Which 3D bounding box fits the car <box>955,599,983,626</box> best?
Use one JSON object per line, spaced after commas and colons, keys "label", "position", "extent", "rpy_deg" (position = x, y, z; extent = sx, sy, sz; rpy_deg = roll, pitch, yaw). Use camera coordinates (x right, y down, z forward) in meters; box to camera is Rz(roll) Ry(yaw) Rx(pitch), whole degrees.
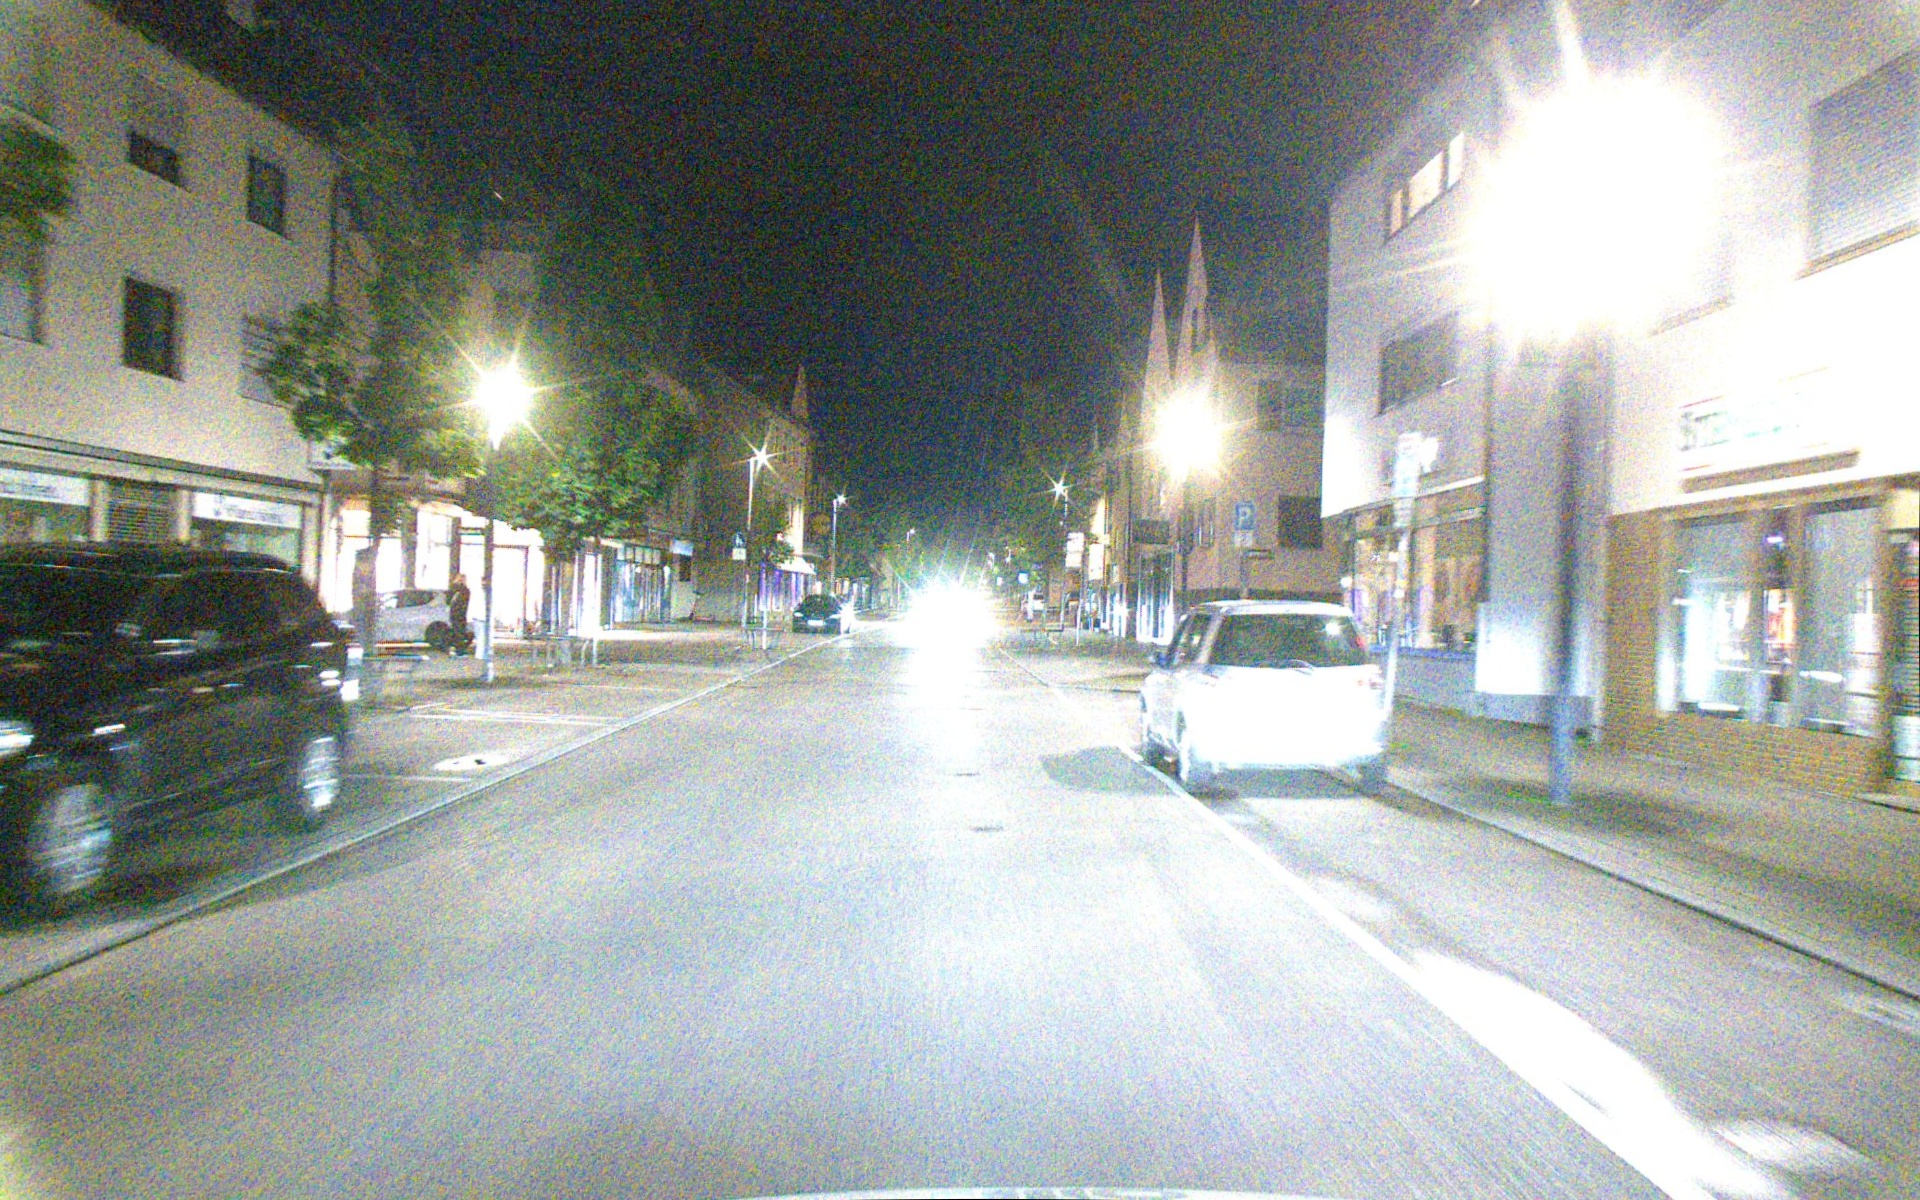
{"label": "car", "position": [0.623, 0.791, 108.417], "extent": [1.739, 1.681, 4.365], "rpy_deg": [1, 0, 1]}

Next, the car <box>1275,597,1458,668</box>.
{"label": "car", "position": [9.723, 0.774, 39.727], "extent": [3.907, 1.502, 1.751], "rpy_deg": [-2, -1, -3]}

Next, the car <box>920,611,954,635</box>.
{"label": "car", "position": [-1.266, 1.284, 92.050], "extent": [1.687, 1.268, 4.237], "rpy_deg": [1, 0, 1]}

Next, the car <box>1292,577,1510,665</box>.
{"label": "car", "position": [9.158, 0.412, 34.528], "extent": [3.996, 1.609, 1.815], "rpy_deg": [-2, 1, -4]}

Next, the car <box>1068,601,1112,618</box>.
{"label": "car", "position": [11.710, 0.882, 149.337], "extent": [3.902, 1.441, 2.001], "rpy_deg": [1, -2, 6]}

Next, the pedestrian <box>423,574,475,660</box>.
{"label": "pedestrian", "position": [-10.227, 0.325, 33.129], "extent": [0.753, 1.685, 0.817], "rpy_deg": [1, 1, 1]}

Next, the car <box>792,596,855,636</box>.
{"label": "car", "position": [-5.128, 0.578, 62.689], "extent": [1.875, 1.394, 4.458], "rpy_deg": [1, 0, 1]}

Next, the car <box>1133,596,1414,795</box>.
{"label": "car", "position": [2.591, 0.752, 14.475], "extent": [1.641, 1.485, 3.674], "rpy_deg": [1, -1, -2]}

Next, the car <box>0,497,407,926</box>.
{"label": "car", "position": [-4.803, 0.422, 8.734], "extent": [1.976, 1.720, 5.002], "rpy_deg": [3, -1, 0]}

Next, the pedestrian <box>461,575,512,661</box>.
{"label": "pedestrian", "position": [-9.464, 0.346, 33.091], "extent": [0.753, 1.685, 0.782], "rpy_deg": [1, 1, 1]}

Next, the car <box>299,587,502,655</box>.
{"label": "car", "position": [-13.093, 0.491, 38.833], "extent": [4.080, 1.464, 1.841], "rpy_deg": [-2, -1, 3]}

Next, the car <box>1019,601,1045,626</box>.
{"label": "car", "position": [5.042, 0.961, 116.332], "extent": [1.739, 1.681, 4.364], "rpy_deg": [1, 0, 1]}
